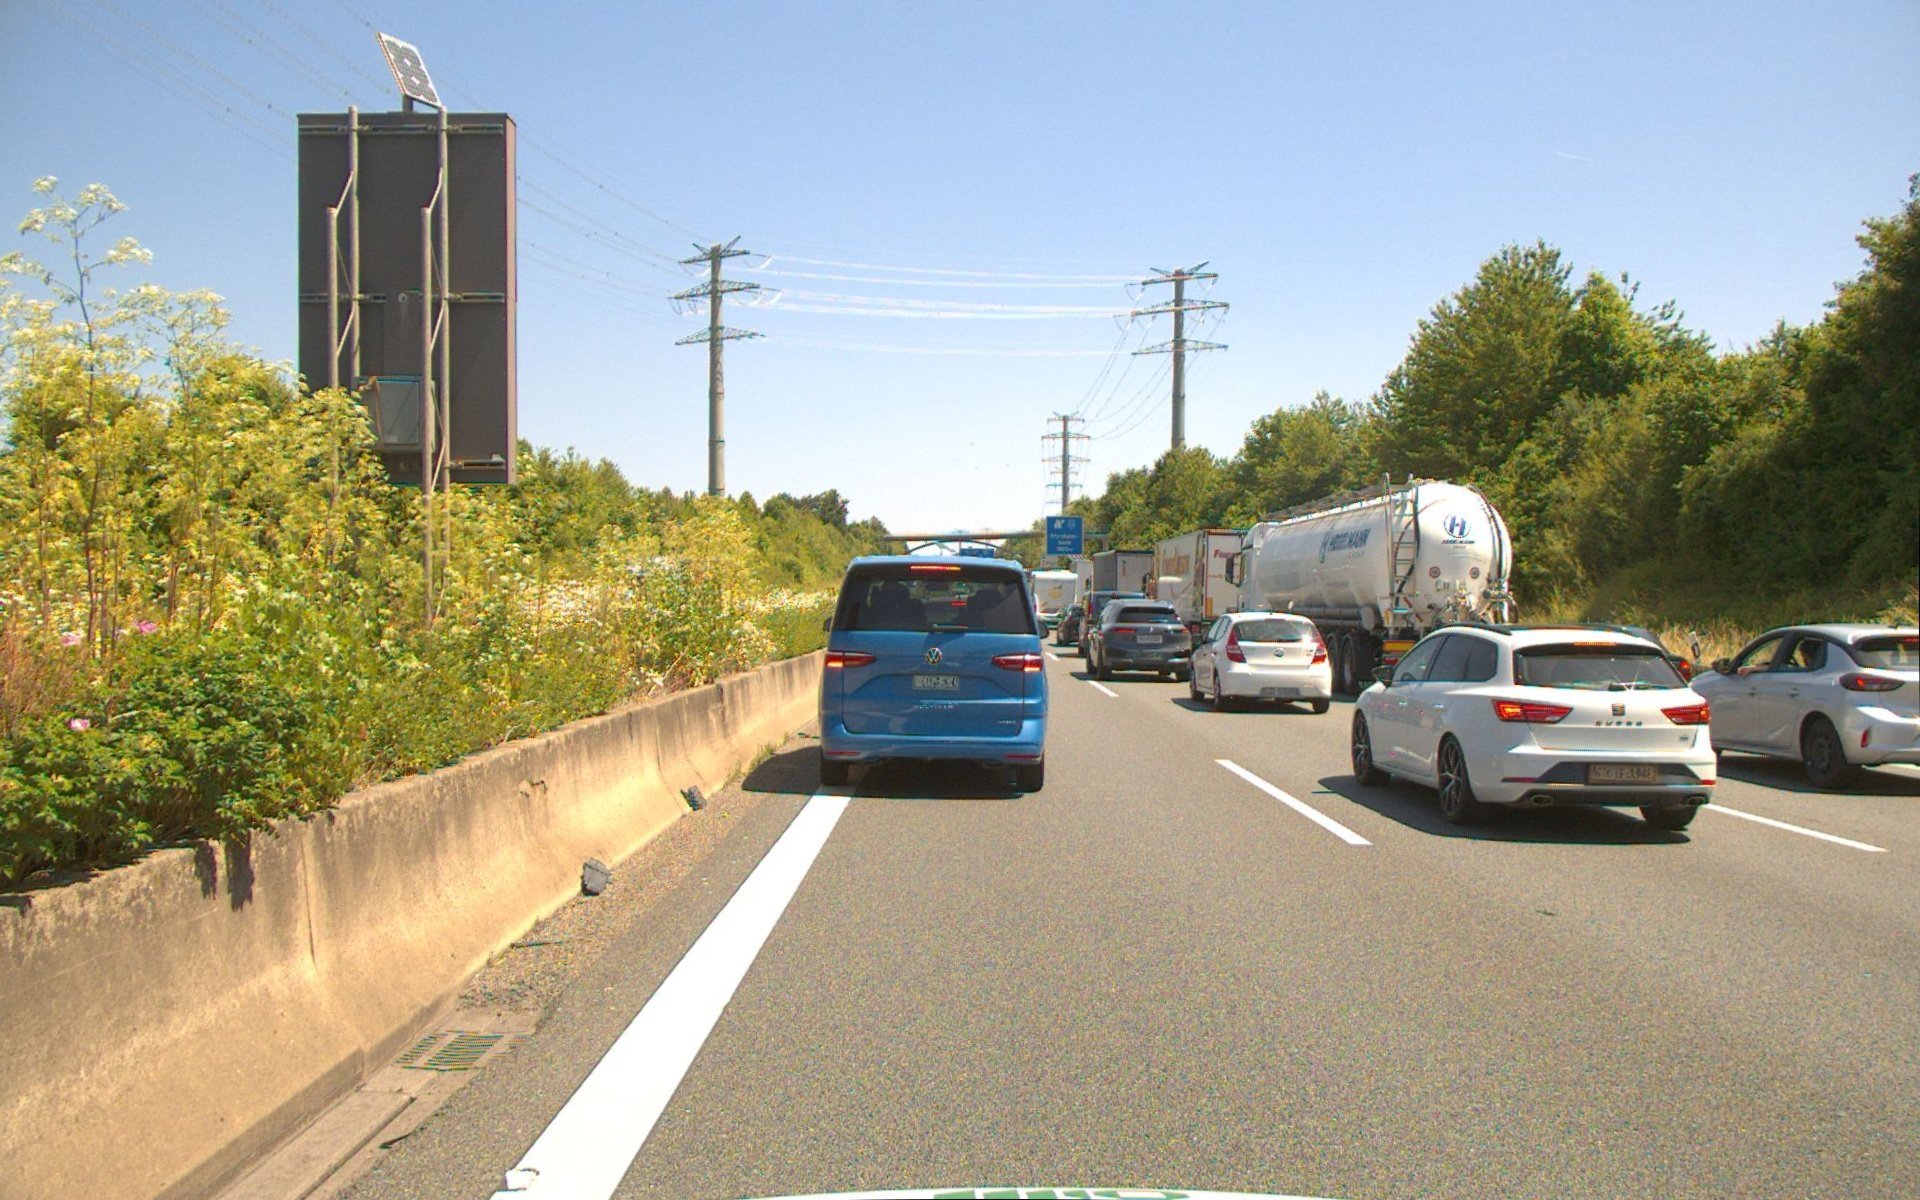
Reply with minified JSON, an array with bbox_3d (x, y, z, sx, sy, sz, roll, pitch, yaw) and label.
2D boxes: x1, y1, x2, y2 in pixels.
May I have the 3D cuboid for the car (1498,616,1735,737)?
[{"bbox_3d":[8.693,0.973,22.259,1.607,1.441,3.989,-1,-1,1],"label":"car"}]

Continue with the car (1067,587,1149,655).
[{"bbox_3d":[4.494,0.644,50.644,1.885,1.959,4.232,-1,-1,-3],"label":"car"}]

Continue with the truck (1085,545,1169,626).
[{"bbox_3d":[8.464,-0.601,85.800,2.944,3.832,15.713,0,-1,1],"label":"truck"}]

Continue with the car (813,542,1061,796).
[{"bbox_3d":[-0.175,0.535,14.774,1.881,1.919,4.000,1,0,0],"label":"car"}]

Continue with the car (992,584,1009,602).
[{"bbox_3d":[4.988,-0.882,205.232,1.953,2.163,3.999,0,-1,-1],"label":"car"}]

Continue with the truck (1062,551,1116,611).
[{"bbox_3d":[8.801,-1.190,114.410,2.836,3.832,13.345,0,-1,1],"label":"truck"}]

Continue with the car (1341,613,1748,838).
[{"bbox_3d":[4.344,0.866,13.045,1.711,1.468,4.313,0,-1,1],"label":"car"}]

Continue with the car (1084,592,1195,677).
[{"bbox_3d":[3.860,0.749,36.246,1.958,1.745,4.625,0,-1,1],"label":"car"}]

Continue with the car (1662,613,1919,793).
[{"bbox_3d":[8.503,0.885,16.006,1.695,1.468,4.028,0,0,0],"label":"car"}]

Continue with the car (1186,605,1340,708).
[{"bbox_3d":[4.742,0.870,26.398,1.779,1.511,4.000,0,-1,1],"label":"car"}]

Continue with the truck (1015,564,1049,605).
[{"bbox_3d":[8.609,-1.801,198.382,3.493,4.596,10.291,0,-1,-1],"label":"truck"}]

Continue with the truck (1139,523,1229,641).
[{"bbox_3d":[8.916,-0.665,66.419,2.853,4.547,5.141,0,0,-1],"label":"truck"}]

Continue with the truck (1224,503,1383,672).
[{"bbox_3d":[8.413,-0.266,41.120,2.736,3.904,5.571,0,0,-1],"label":"truck"}]

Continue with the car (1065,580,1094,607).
[{"bbox_3d":[9.138,-0.485,126.854,1.952,2.049,4.000,0,-1,0],"label":"car"}]

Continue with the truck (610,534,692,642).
[{"bbox_3d":[-15.025,-0.548,80.732,3.235,5.139,4.032,0,0,0],"label":"truck"}]

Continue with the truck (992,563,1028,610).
[{"bbox_3d":[4.219,-1.058,140.899,2.836,3.832,10.140,0,-1,1],"label":"truck"}]

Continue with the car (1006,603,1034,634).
[{"bbox_3d":[4.033,1.280,112.040,1.798,2.033,4.000,-1,-1,1],"label":"car"}]

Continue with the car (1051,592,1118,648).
[{"bbox_3d":[4.538,0.757,60.882,1.885,1.959,4.232,-1,-1,-3],"label":"car"}]

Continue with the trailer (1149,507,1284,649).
[{"bbox_3d":[8.973,-0.676,59.409,2.853,4.547,12.152,0,0,-1],"label":"trailer"}]

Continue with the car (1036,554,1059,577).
[{"bbox_3d":[8.219,-3.241,154.982,1.952,2.049,4.000,0,-1,0],"label":"car"}]

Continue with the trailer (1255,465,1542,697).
[{"bbox_3d":[8.444,-0.293,33.750,2.705,3.912,11.484,0,0,-1],"label":"trailer"}]

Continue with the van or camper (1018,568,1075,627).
[{"bbox_3d":[4.689,-0.090,90.774,2.896,3.075,7.103,0,-1,1],"label":"van or camper"}]
